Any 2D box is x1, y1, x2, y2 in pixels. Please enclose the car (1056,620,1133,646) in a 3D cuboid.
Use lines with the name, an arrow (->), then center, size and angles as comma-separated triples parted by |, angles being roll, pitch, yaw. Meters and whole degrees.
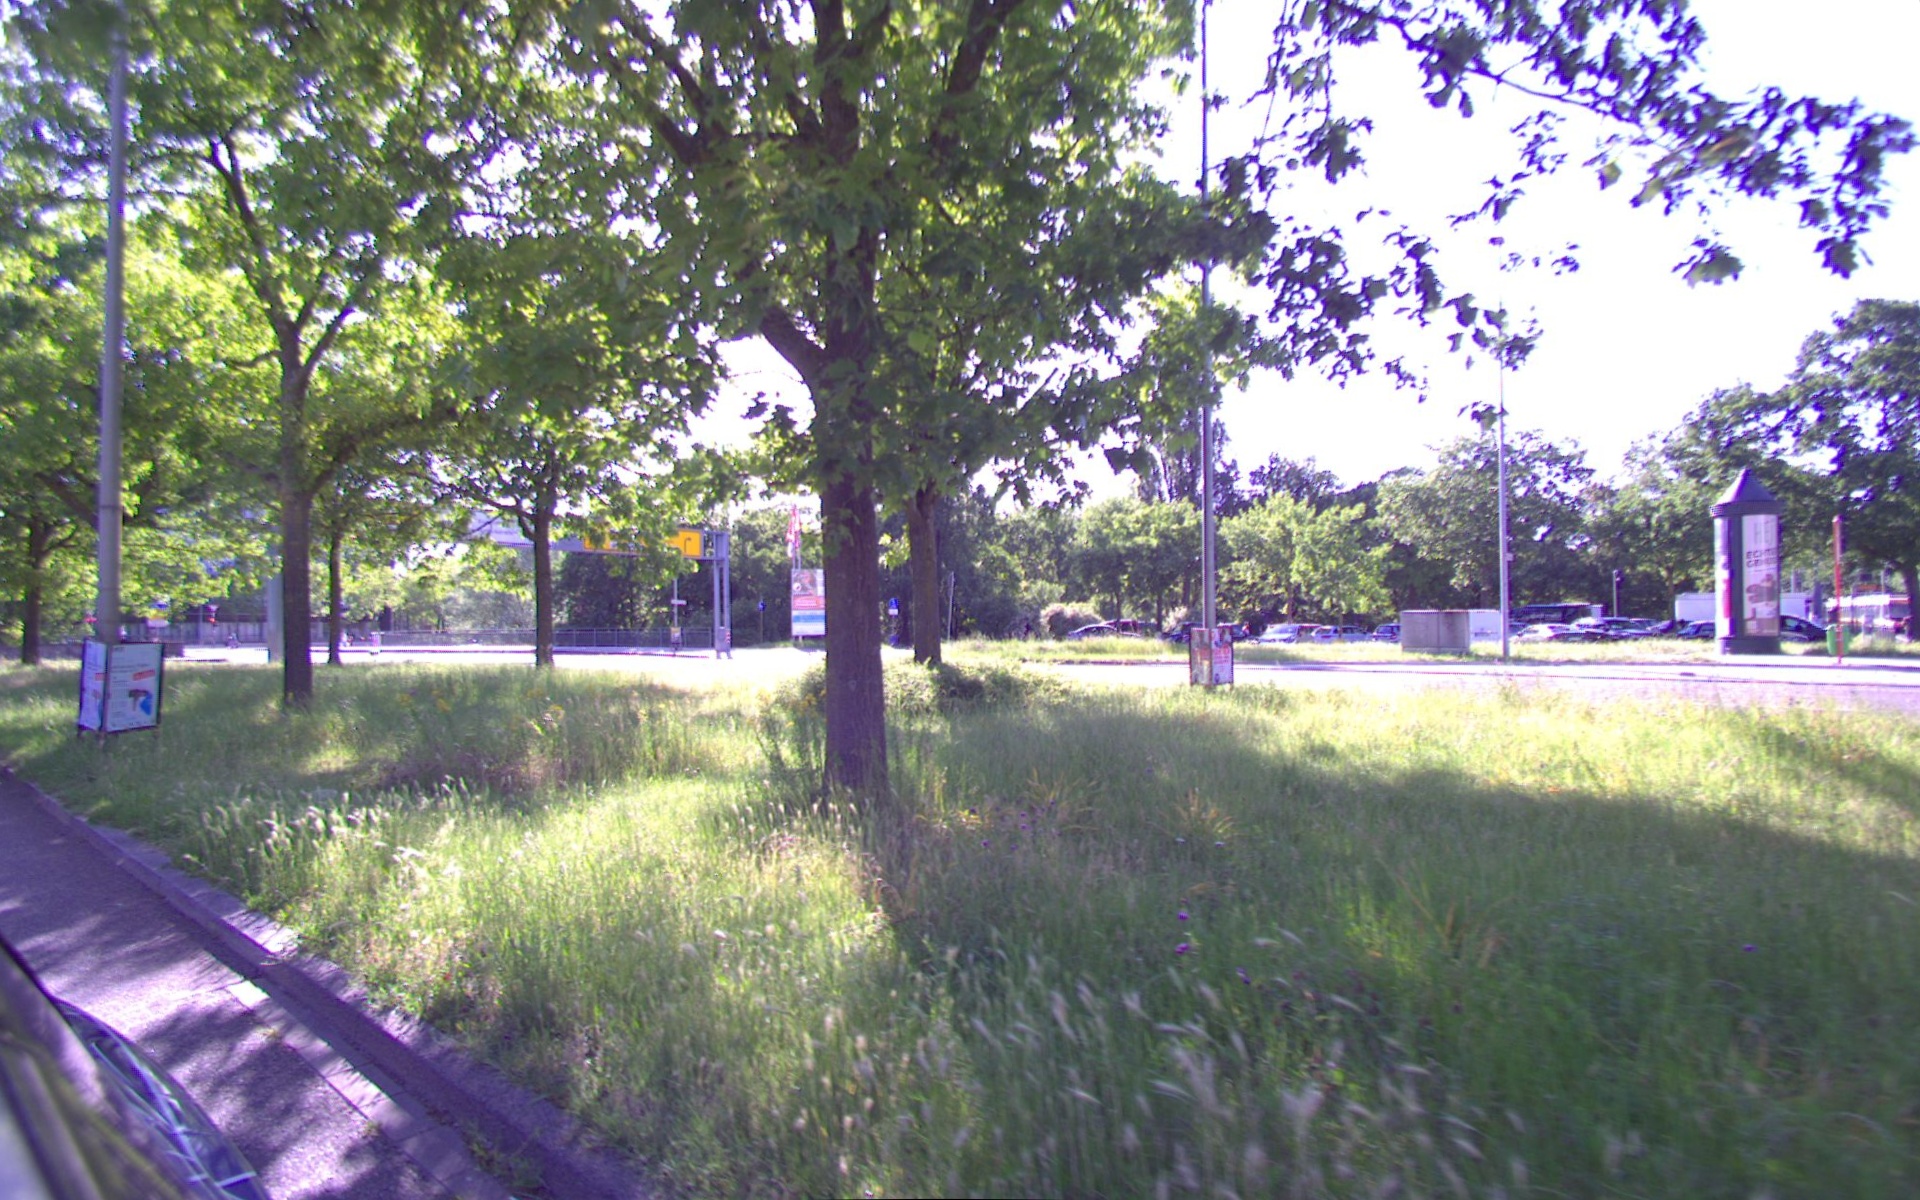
car -> 8.220, 1.991, 61.707 | 4.508, 1.475, 1.993 | -1, 0, 11

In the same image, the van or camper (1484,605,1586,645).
van or camper -> 31.611, 1.357, 55.754 | 1.966, 2.112, 4.413 | 0, -2, -33

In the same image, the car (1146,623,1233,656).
car -> 10.887, 1.859, 48.242 | 1.791, 1.459, 4.012 | 0, -1, -30

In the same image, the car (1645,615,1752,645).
car -> 35.948, 1.461, 49.366 | 3.984, 1.425, 1.754 | -1, -1, 30

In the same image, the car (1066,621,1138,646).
car -> 9.198, 2.150, 65.207 | 4.508, 1.475, 1.993 | -1, 0, 11

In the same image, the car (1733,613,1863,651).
car -> 36.057, 1.381, 43.699 | 3.984, 1.579, 1.980 | -1, -1, 30

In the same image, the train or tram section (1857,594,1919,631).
train or tram section -> 82.849, 1.074, 89.935 | 2.464, 2.962, 19.607 | -2, -1, 35

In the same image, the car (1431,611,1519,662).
car -> 21.507, 1.501, 42.516 | 2.218, 2.029, 4.976 | -1, -1, 15

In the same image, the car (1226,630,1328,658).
car -> 14.027, 1.944, 44.826 | 3.989, 1.137, 1.801 | -2, -2, 34

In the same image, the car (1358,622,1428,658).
car -> 23.128, 2.127, 53.988 | 3.822, 1.618, 1.658 | -3, 1, -35

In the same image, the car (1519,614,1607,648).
car -> 24.429, 1.218, 41.168 | 1.981, 1.292, 3.981 | -1, -1, 14
